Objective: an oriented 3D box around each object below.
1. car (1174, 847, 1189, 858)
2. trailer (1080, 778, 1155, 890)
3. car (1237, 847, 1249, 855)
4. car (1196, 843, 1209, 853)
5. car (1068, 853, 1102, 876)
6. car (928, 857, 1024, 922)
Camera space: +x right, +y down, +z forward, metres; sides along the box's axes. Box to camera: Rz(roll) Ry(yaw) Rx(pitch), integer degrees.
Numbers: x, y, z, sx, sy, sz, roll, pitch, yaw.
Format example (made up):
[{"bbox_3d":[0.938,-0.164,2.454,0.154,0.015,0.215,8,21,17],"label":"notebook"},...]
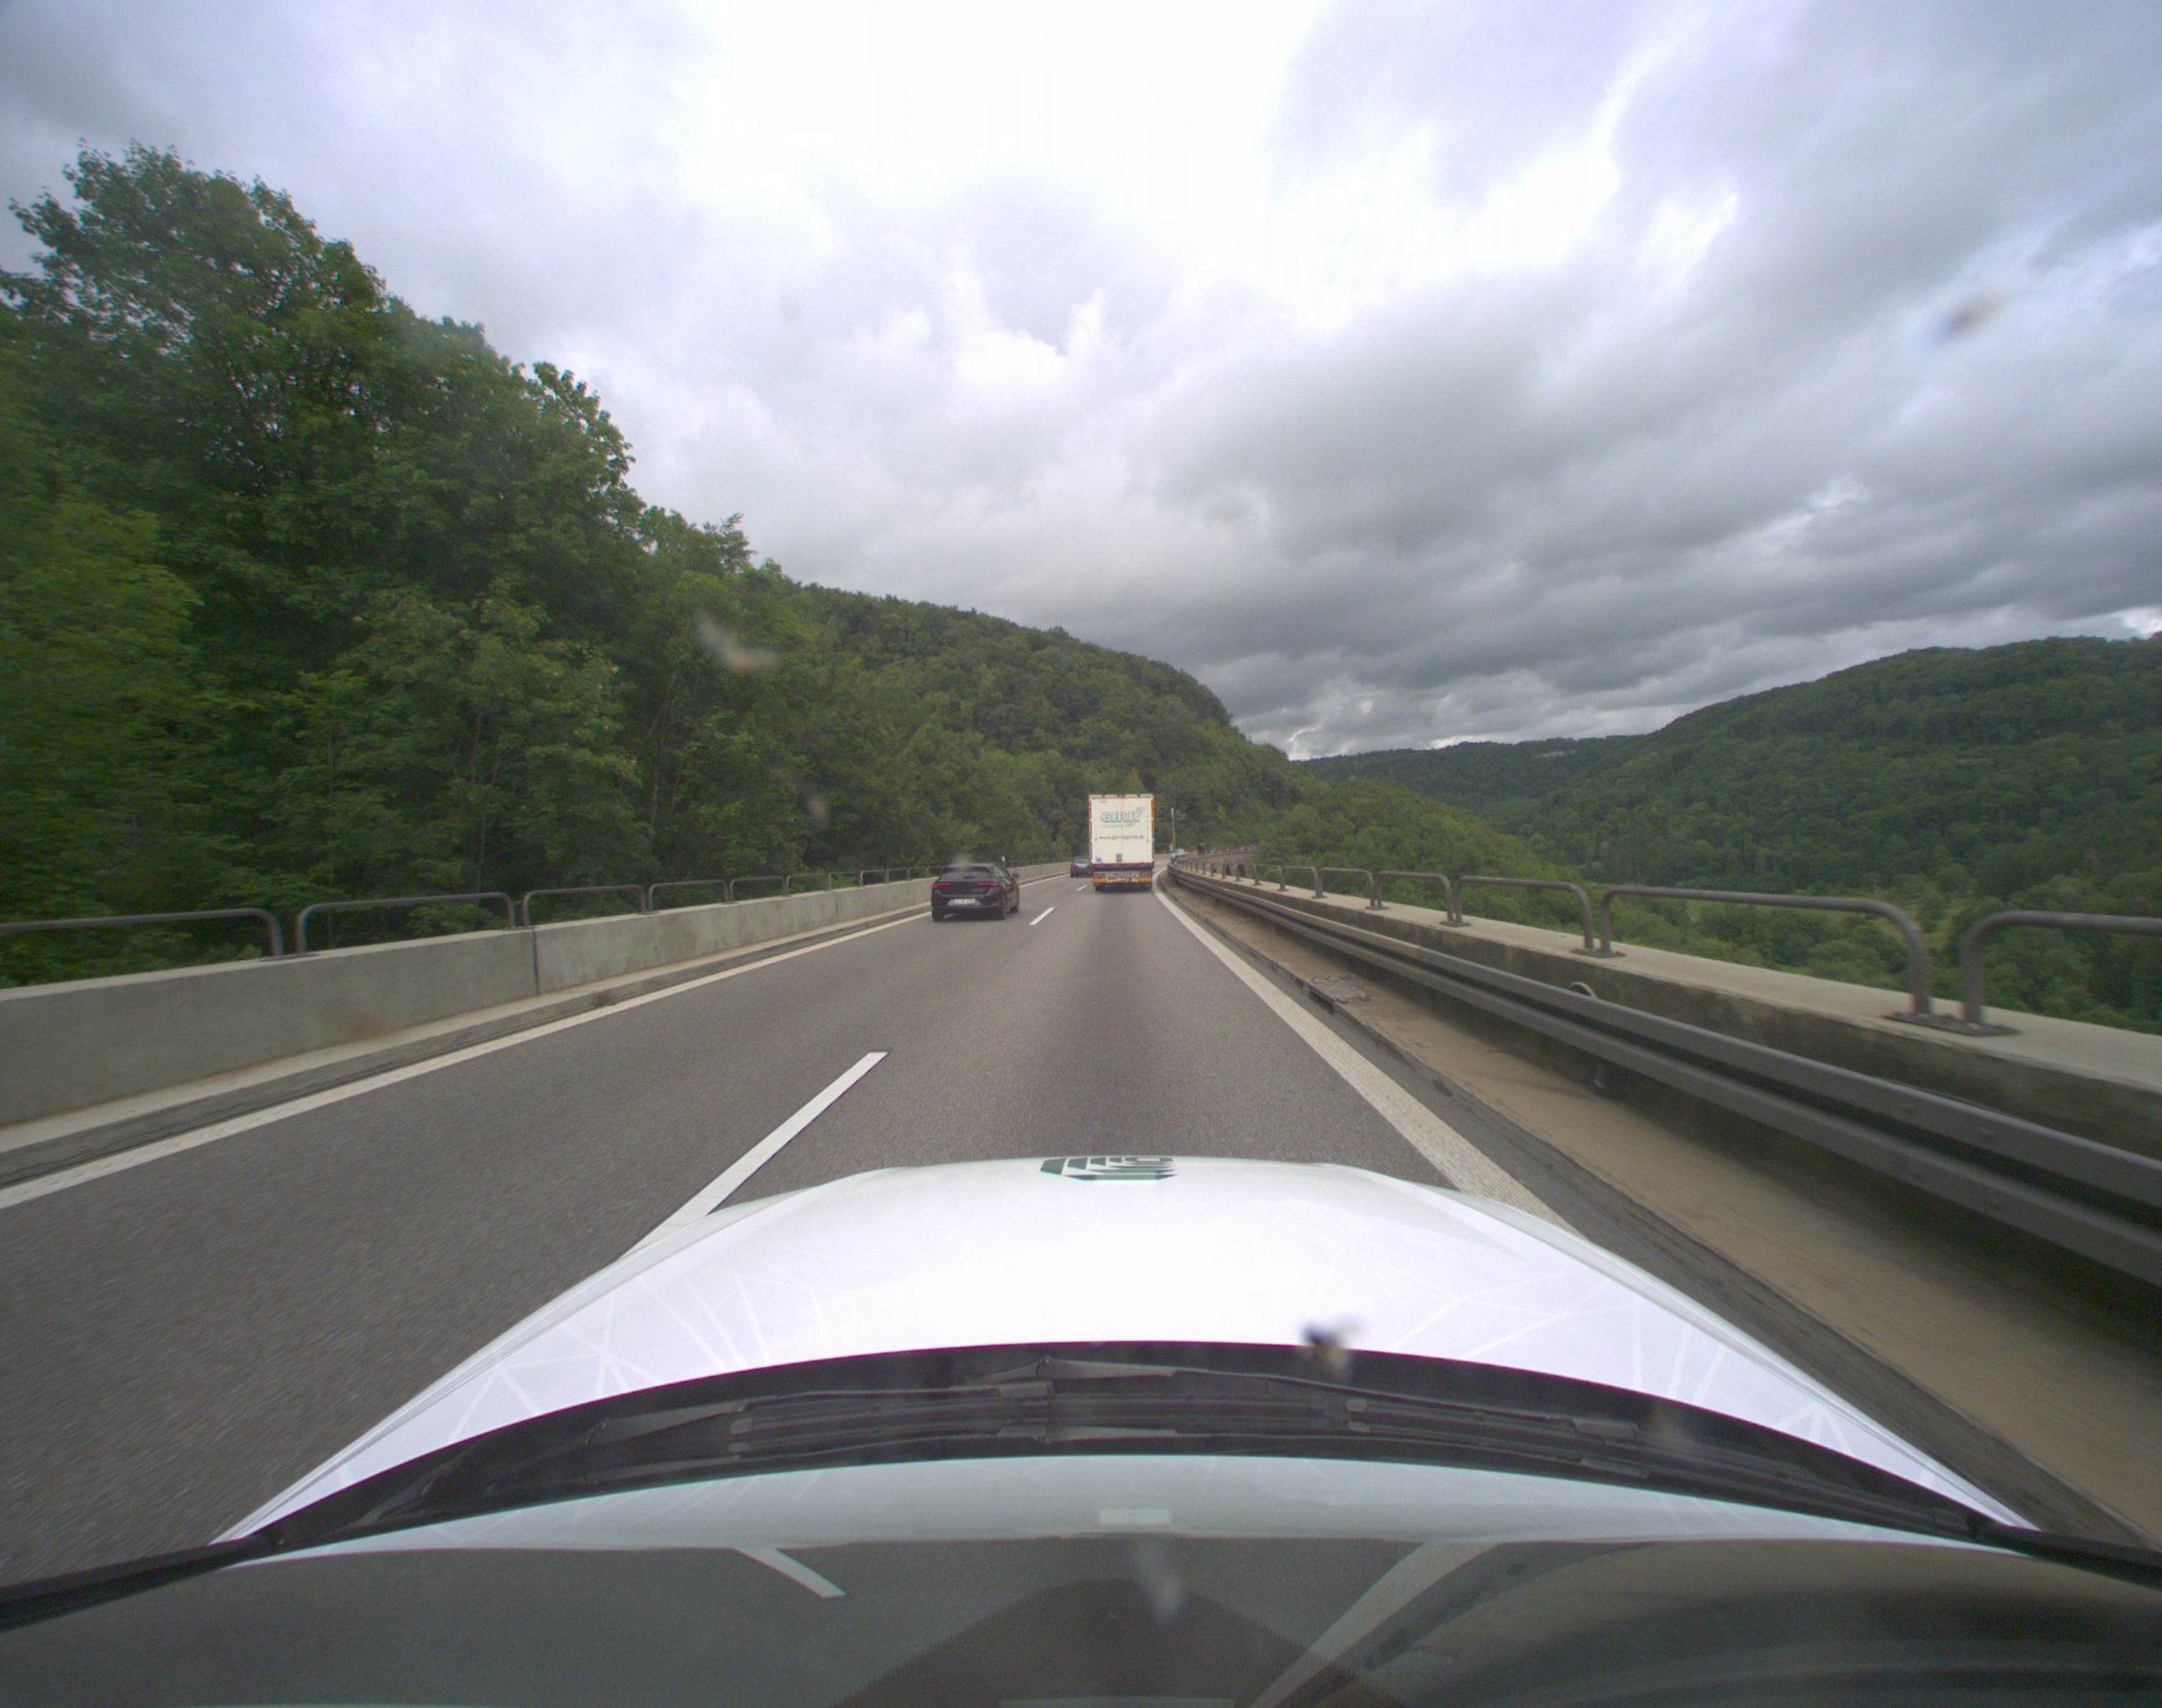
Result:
[{"bbox_3d":[17.822,-0.203,144.197,1.978,1.794,4.017,-2,-1,17],"label":"car"},{"bbox_3d":[1.861,-0.730,38.074,2.801,4.302,12.257,-2,-1,4],"label":"trailer"},{"bbox_3d":[38.578,-0.656,193.945,1.976,1.794,4.021,-2,-1,21],"label":"car"},{"bbox_3d":[24.982,-1.226,167.345,1.978,2.014,4.018,-2,-1,17],"label":"car"},{"bbox_3d":[0.332,0.714,56.714,1.874,1.510,4.426,-2,-1,6],"label":"car"},{"bbox_3d":[-2.620,0.834,21.306,1.767,1.461,4.583,-1,0,1],"label":"car"}]
